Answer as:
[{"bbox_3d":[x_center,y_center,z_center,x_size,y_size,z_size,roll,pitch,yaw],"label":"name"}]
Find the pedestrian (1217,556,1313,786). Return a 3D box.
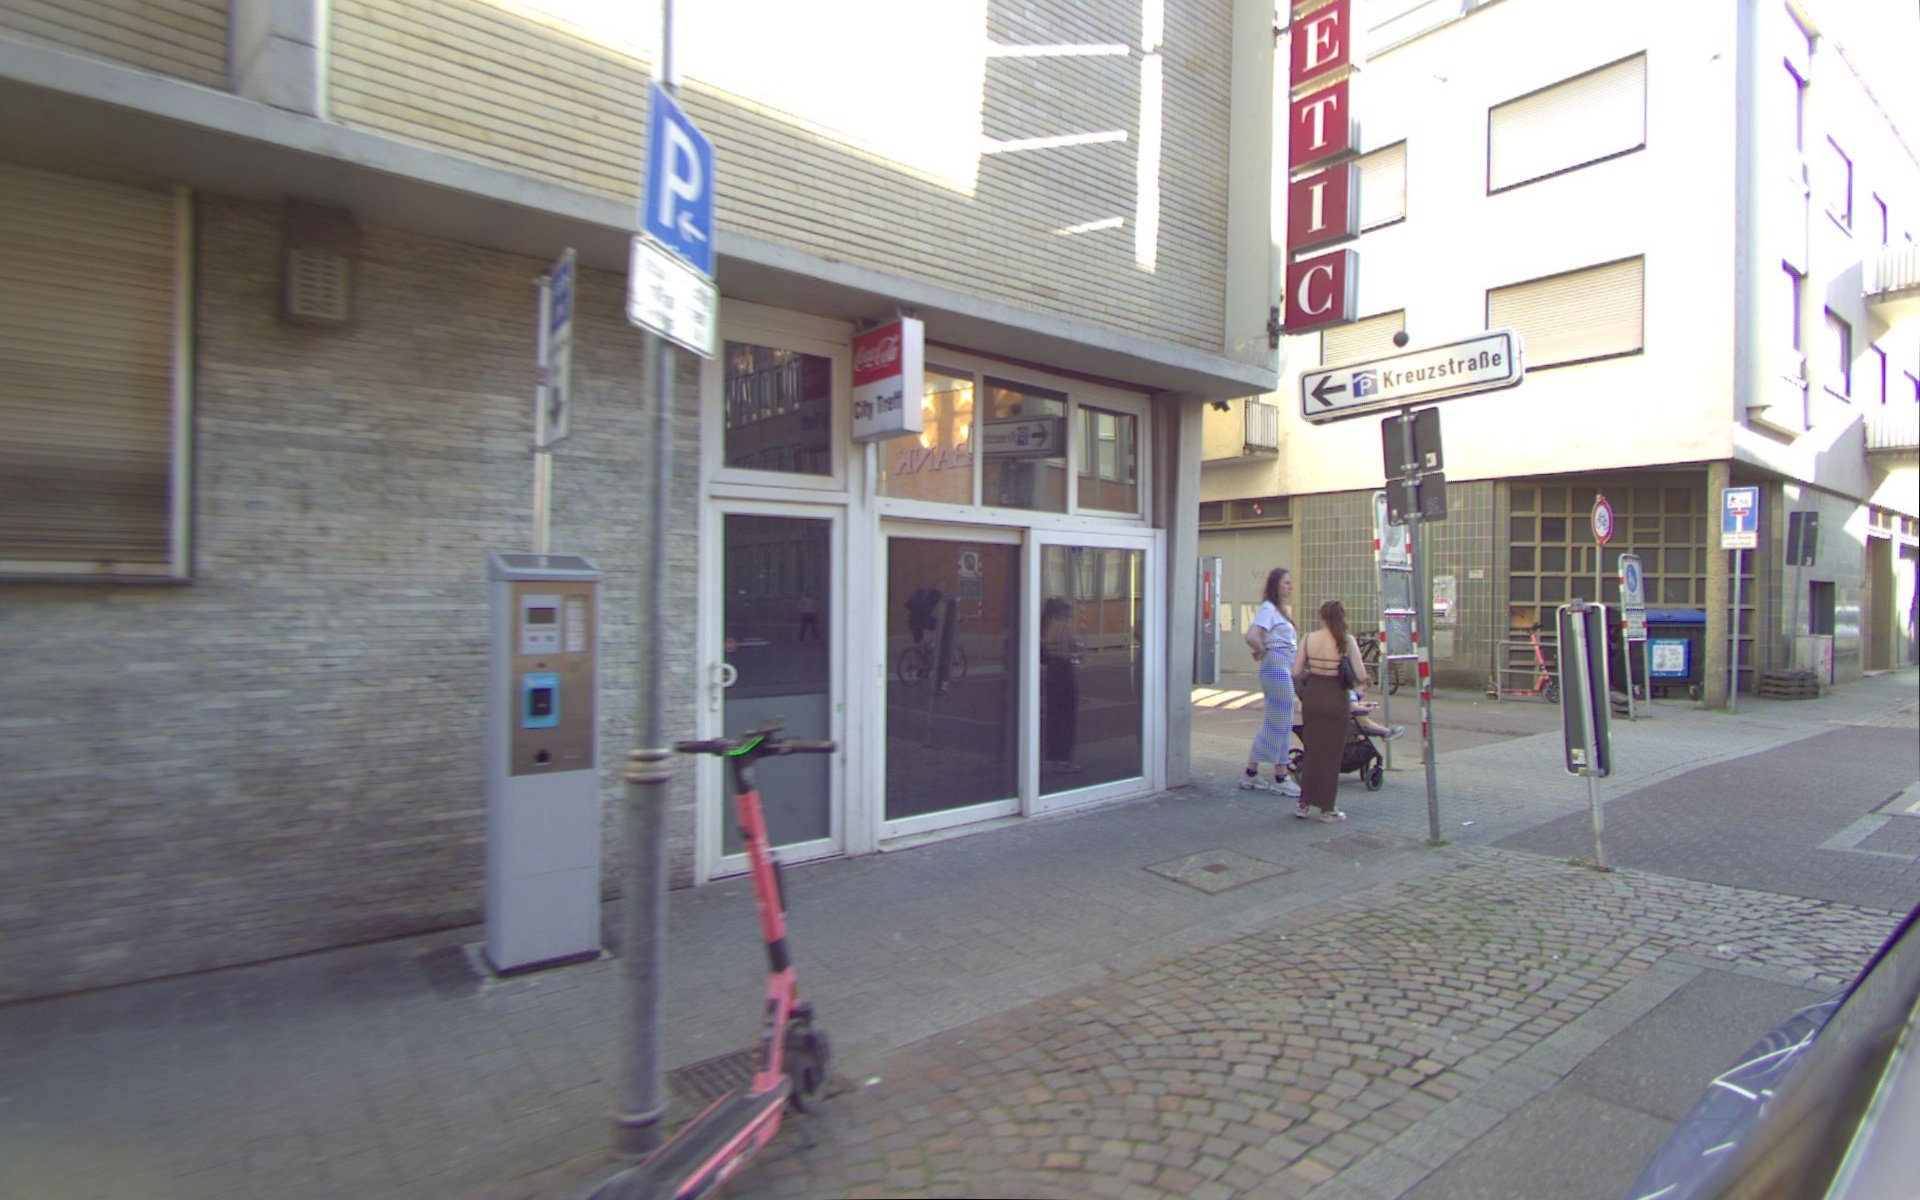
[{"bbox_3d":[2.419,0.539,8.074,0.611,1.758,0.626,0,0,5],"label":"pedestrian"}]

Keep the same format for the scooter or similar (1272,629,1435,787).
[{"bbox_3d":[3.281,0.871,8.536,1.026,1.191,0.870,2,0,4],"label":"scooter or similar"}]

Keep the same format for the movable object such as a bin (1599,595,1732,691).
[{"bbox_3d":[11.378,0.668,16.383,1.412,1.481,1.126,0,0,10],"label":"movable object such as a bin"}]

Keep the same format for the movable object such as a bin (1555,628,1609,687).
[{"bbox_3d":[10.358,0.941,16.867,0.587,0.938,0.605,0,0,10],"label":"movable object such as a bin"}]

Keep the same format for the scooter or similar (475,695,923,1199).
[{"bbox_3d":[-0.585,0.927,2.708,0.488,1.209,1.297,0,0,22],"label":"scooter or similar"}]

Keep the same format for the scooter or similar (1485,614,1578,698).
[{"bbox_3d":[8.853,0.841,15.708,0.489,1.239,1.161,0,0,-40],"label":"scooter or similar"}]

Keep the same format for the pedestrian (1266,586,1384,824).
[{"bbox_3d":[2.532,0.693,7.046,0.432,1.559,0.575,1,2,-30],"label":"pedestrian"}]

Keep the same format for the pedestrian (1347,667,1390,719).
[{"bbox_3d":[3.506,0.795,8.693,0.308,0.403,0.330,0,0,17],"label":"pedestrian"}]

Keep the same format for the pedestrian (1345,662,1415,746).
[{"bbox_3d":[3.457,0.847,8.350,0.502,0.641,0.330,0,0,17],"label":"pedestrian"}]

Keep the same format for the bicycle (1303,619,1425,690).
[{"bbox_3d":[6.921,0.899,17.422,0.669,1.141,1.893,0,-1,-34],"label":"bicycle"}]
